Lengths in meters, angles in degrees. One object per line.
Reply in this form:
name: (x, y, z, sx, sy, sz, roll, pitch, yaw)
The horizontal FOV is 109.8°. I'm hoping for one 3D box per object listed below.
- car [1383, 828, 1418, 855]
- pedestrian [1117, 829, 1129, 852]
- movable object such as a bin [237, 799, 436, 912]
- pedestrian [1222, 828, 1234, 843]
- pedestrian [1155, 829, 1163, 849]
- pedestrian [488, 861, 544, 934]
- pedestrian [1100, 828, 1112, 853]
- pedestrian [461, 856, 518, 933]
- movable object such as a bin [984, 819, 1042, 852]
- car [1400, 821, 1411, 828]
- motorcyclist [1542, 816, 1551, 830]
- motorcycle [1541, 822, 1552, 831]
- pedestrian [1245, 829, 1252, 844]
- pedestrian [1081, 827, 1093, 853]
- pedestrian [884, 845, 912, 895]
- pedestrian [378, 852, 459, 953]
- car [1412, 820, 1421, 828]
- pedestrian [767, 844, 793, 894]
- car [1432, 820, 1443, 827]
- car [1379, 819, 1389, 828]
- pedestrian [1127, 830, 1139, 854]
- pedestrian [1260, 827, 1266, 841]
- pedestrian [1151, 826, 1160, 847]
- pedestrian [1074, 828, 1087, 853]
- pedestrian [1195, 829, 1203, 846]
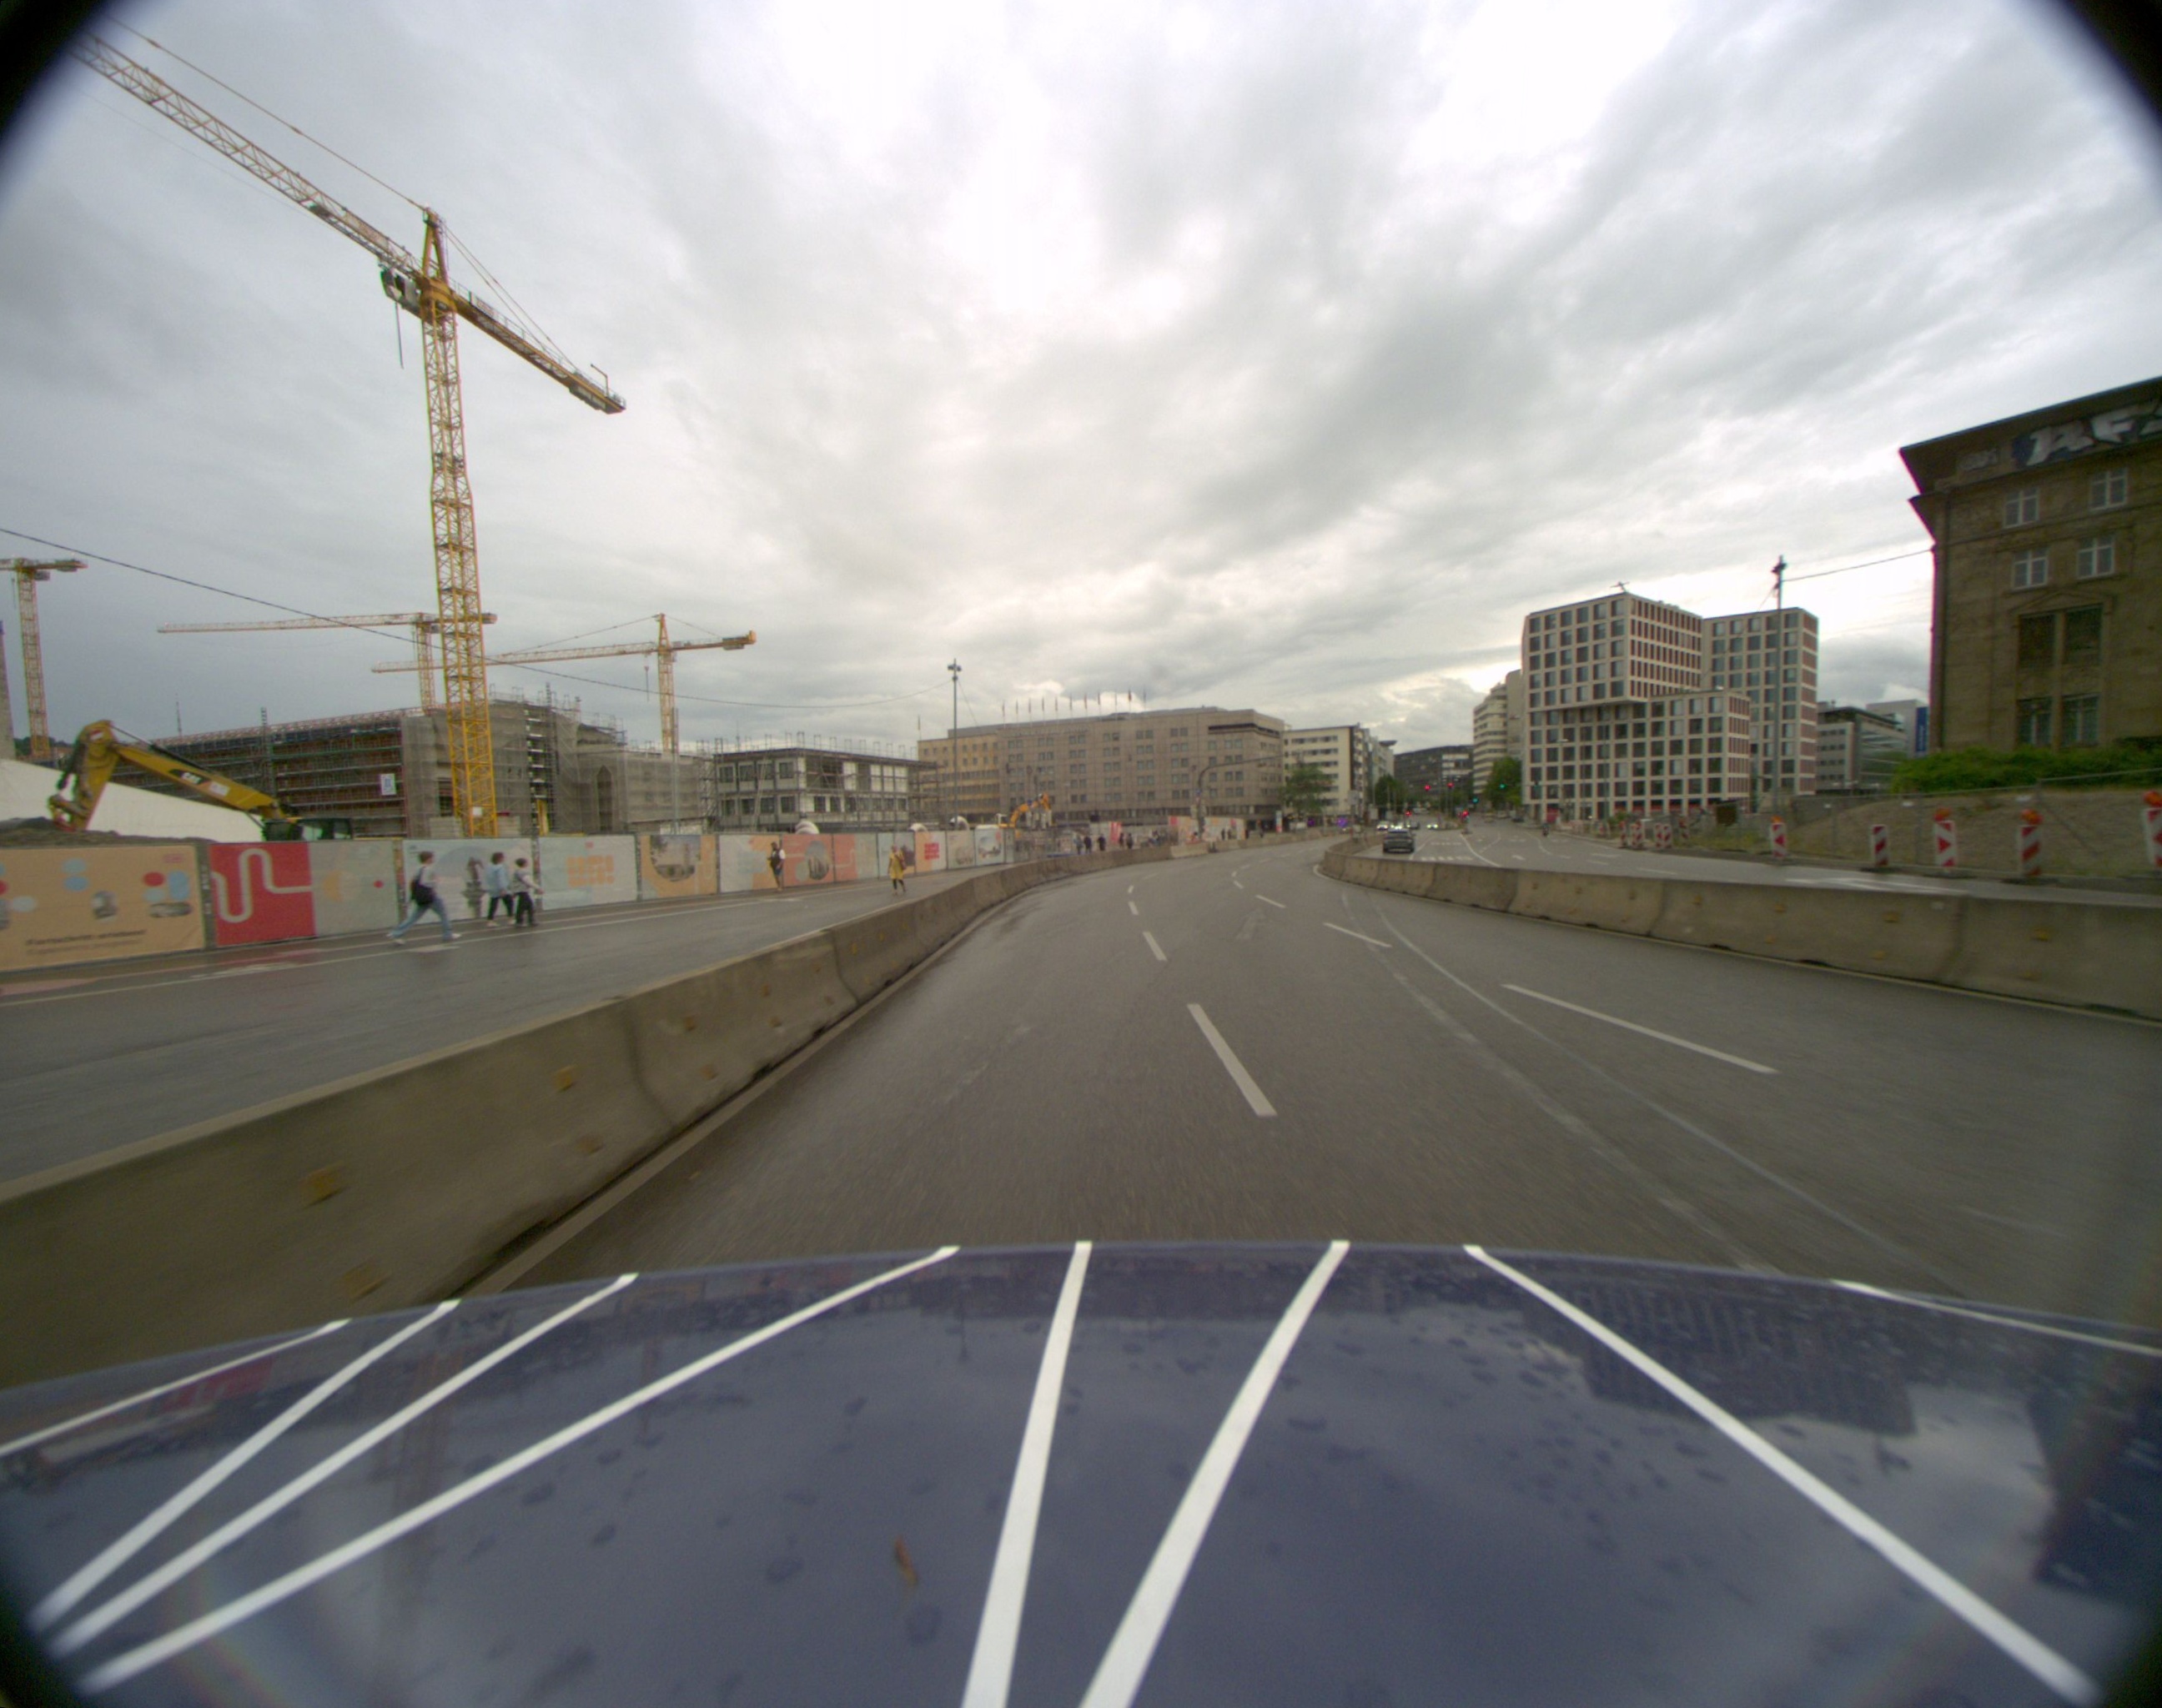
car: (19.553, -0.808, 46.632, 1.768, 1.513, 4.391, -1, 2, 20)
pedestrian: (3.181, -1.018, 57.745, 0.654, 1.682, 0.776, 1, 3, 24)
movable object such as a bin: (-24.402, -0.013, 25.184, 1.941, 3.390, 4.231, -1, 2, 8)
pedestrian: (17.176, -2.138, 88.783, 1.097, 1.751, 0.907, 1, 3, 27)
pedestrian: (6.737, -1.299, 65.514, 0.648, 1.751, 0.584, 0, 3, 12)
pedestrian: (-12.505, 0.942, 16.828, 0.647, 1.544, 0.767, 0, 3, 37)
pedestrian: (1.679, -0.920, 51.211, 0.648, 1.637, 0.948, 0, 3, 14)
pedestrian: (-13.243, 0.894, 17.024, 0.647, 1.646, 0.767, 0, 3, 37)
movable object such as a bin: (-5.503, -1.487, 61.300, 4.135, 2.521, 1.994, -3, 3, -34)
car: (67.802, -6.236, 158.819, 1.995, 1.445, 4.005, -1, 2, 22)
motorcyclist: (50.446, -3.400, 82.362, 0.703, 1.478, 0.964, -1, 3, 22)
motorcycle: (50.462, -2.958, 82.414, 0.703, 0.888, 1.825, -1, 2, 22)
pedestrian: (20.135, -2.091, 91.499, 0.756, 1.751, 0.766, 0, 3, 12)
pedestrian: (0.388, -0.919, 51.088, 0.648, 1.734, 0.766, 0, 3, 14)
pedestrian: (-6.110, 0.517, 25.434, 0.648, 1.624, 0.907, -2, 3, 1)
pedestrian: (-12.781, 0.894, 14.665, 0.818, 1.839, 0.933, 0, 3, 37)
car: (69.291, -6.228, 156.980, 1.706, 1.445, 3.800, -1, 2, 22)
pedestrian: (-10.633, 0.512, 26.859, 0.567, 1.738, 0.495, -1, 3, 19)
car: (73.182, -6.302, 155.944, 1.789, 1.445, 3.676, -1, 2, 22)
car: (64.415, -6.393, 161.513, 1.995, 1.814, 4.005, -1, 2, 22)
pedestrian: (3.818, -0.880, 55.666, 0.654, 1.682, 0.776, 1, 3, 24)
pedestrian: (23.451, -2.602, 97.868, 0.653, 1.751, 0.549, 0, 3, 12)
pedestrian: (6.106, -1.433, 62.254, 0.585, 1.699, 0.677, 0, 3, 12)
pedestrian: (-0.052, -0.906, 52.120, 0.745, 1.696, 0.687, 0, 3, 14)
pedestrian: (11.650, -1.648, 75.040, 0.648, 1.660, 0.766, 0, 3, 12)
